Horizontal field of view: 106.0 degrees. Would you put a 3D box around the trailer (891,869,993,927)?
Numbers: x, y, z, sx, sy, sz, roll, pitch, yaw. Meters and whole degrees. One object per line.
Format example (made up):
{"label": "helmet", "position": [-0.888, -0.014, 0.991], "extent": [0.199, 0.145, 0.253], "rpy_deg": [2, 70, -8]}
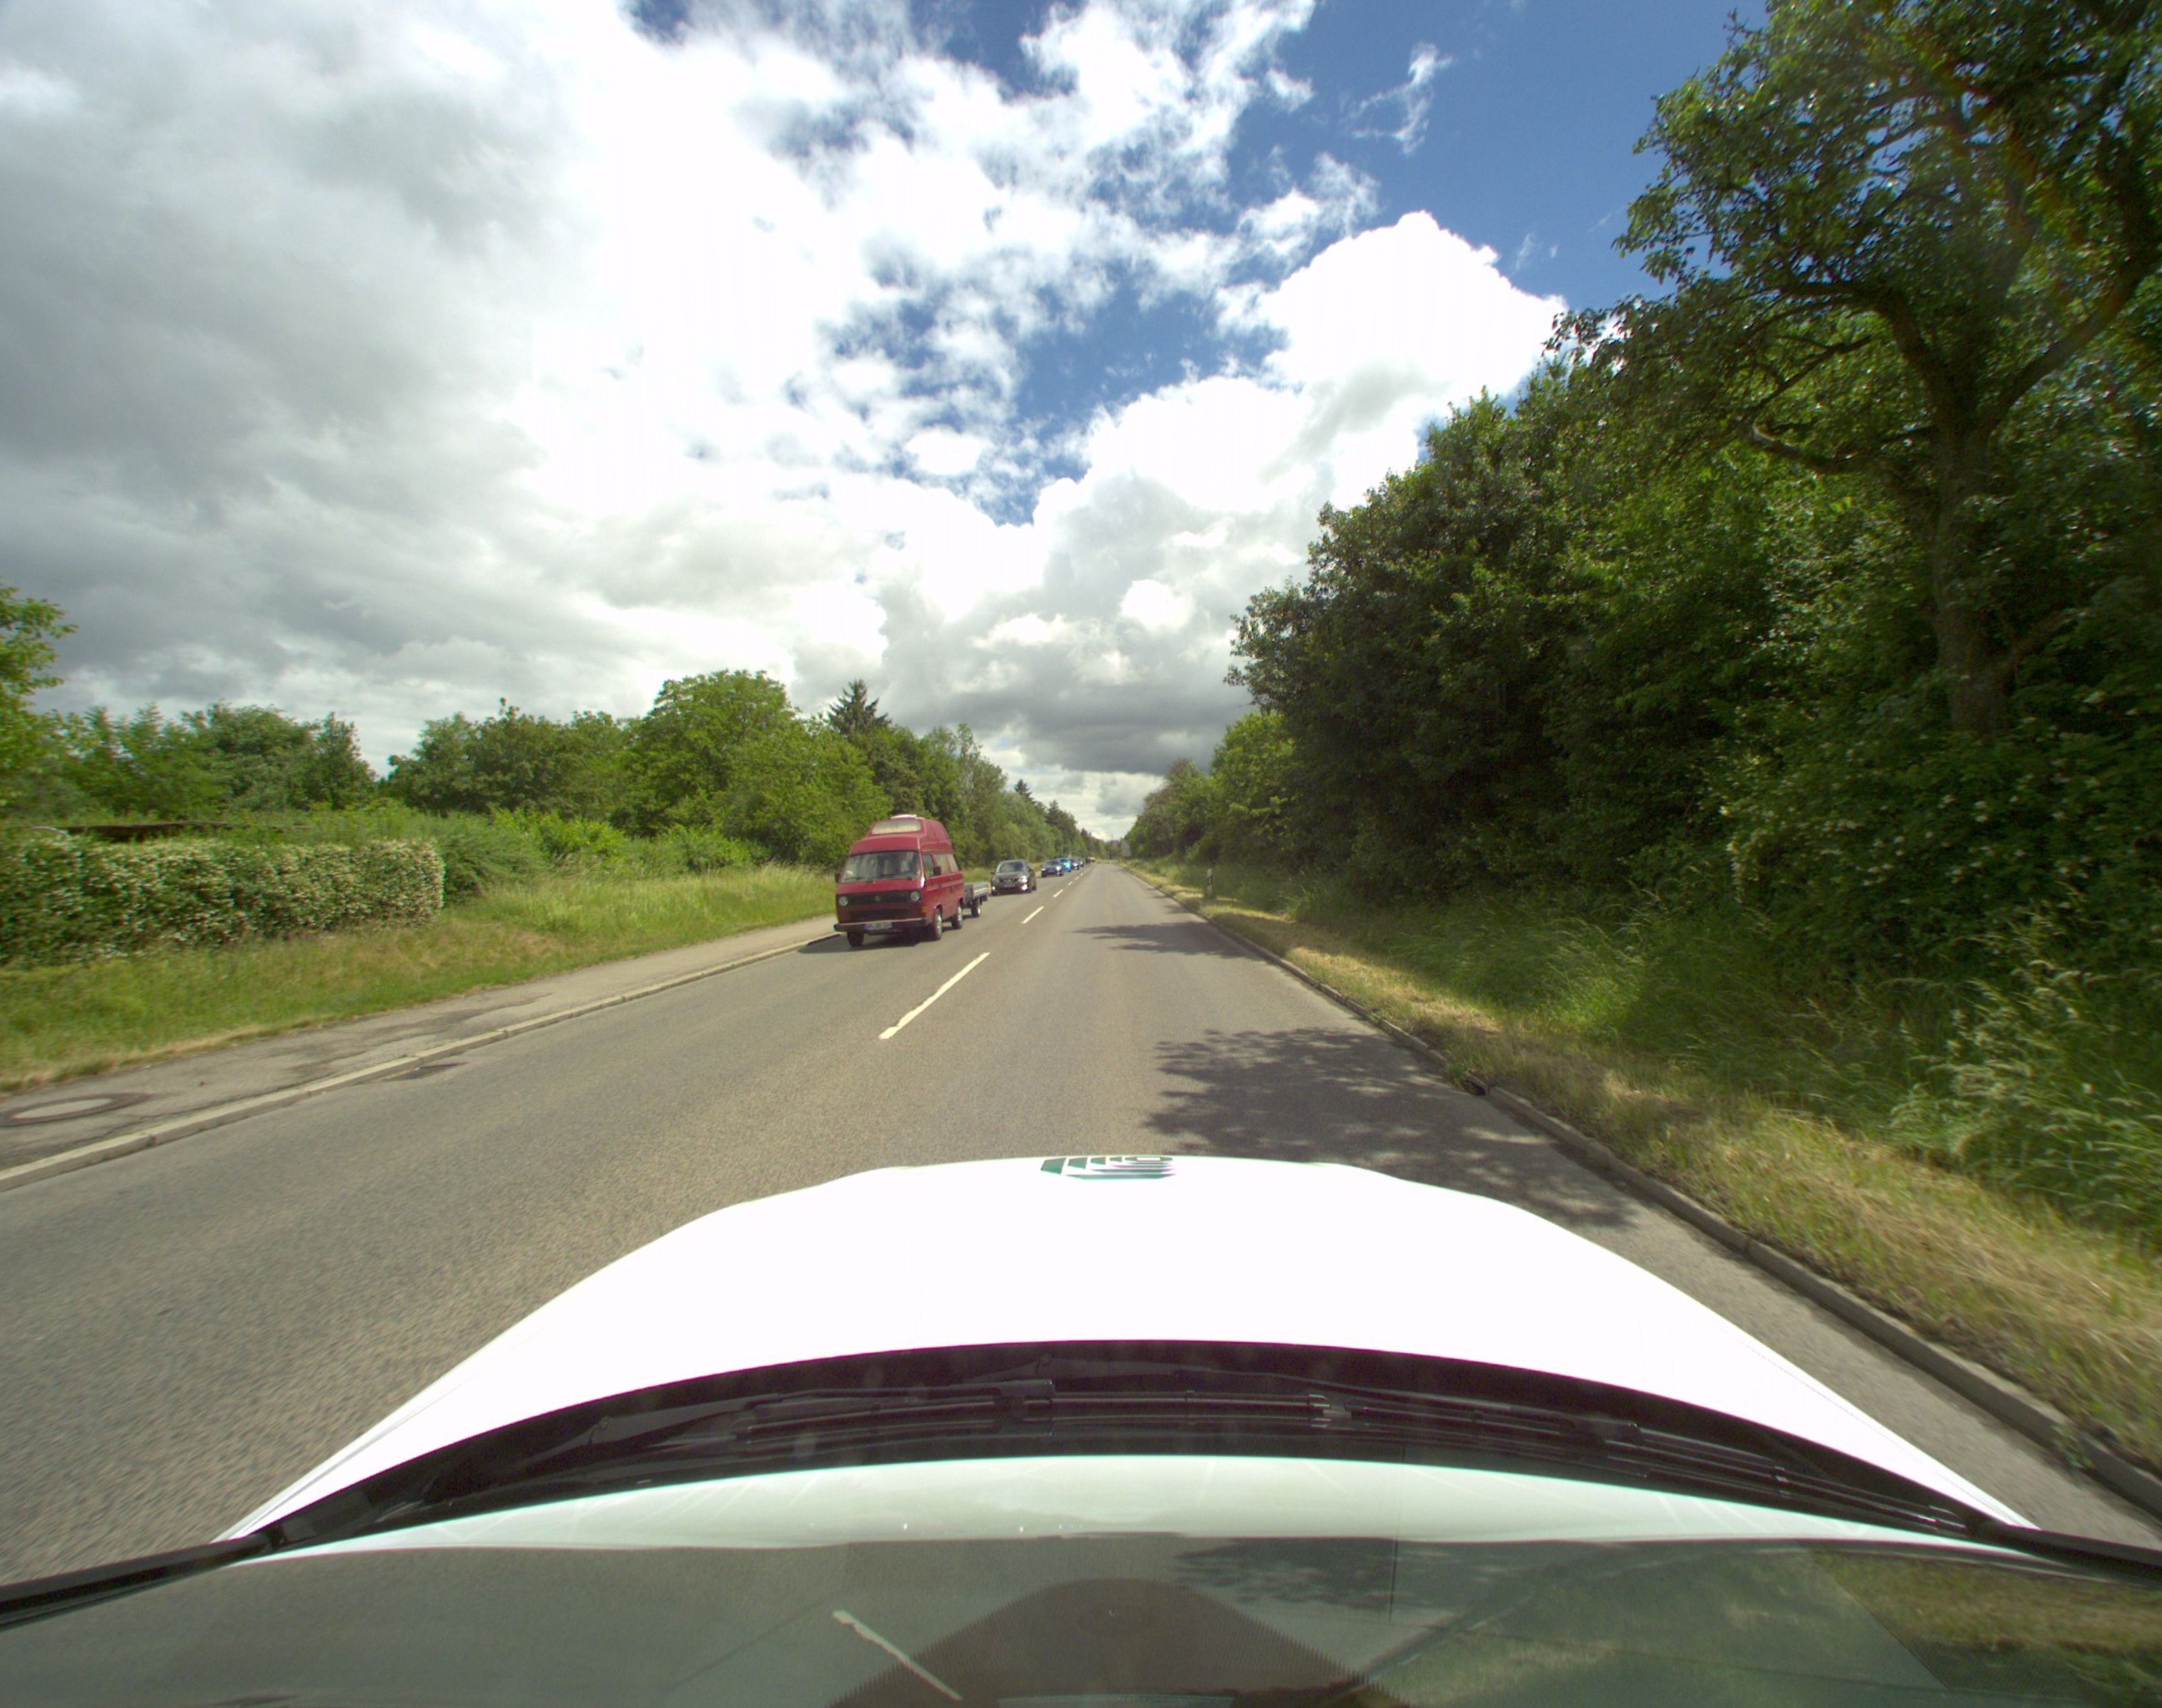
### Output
{"label": "trailer", "position": [-3.608, 1.111, 21.867], "extent": [1.885, 1.200, 3.918], "rpy_deg": [-4, 0, 1]}

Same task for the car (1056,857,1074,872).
{"label": "car", "position": [-1.656, 1.089, 86.341], "extent": [1.778, 1.446, 2.966], "rpy_deg": [-4, 0, 0]}

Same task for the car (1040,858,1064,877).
{"label": "car", "position": [-2.461, 1.124, 69.952], "extent": [1.778, 1.446, 4.452], "rpy_deg": [-4, 0, 0]}

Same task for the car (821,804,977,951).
{"label": "car", "position": [-3.643, 0.427, 17.298], "extent": [1.962, 2.550, 4.726], "rpy_deg": [-4, 0, 1]}

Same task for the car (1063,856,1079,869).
{"label": "car", "position": [-1.250, 1.014, 102.771], "extent": [1.878, 1.491, 4.717], "rpy_deg": [-4, 0, 0]}

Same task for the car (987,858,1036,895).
{"label": "car", "position": [-3.101, 0.988, 37.125], "extent": [1.710, 1.471, 4.000], "rpy_deg": [-5, 0, 1]}
